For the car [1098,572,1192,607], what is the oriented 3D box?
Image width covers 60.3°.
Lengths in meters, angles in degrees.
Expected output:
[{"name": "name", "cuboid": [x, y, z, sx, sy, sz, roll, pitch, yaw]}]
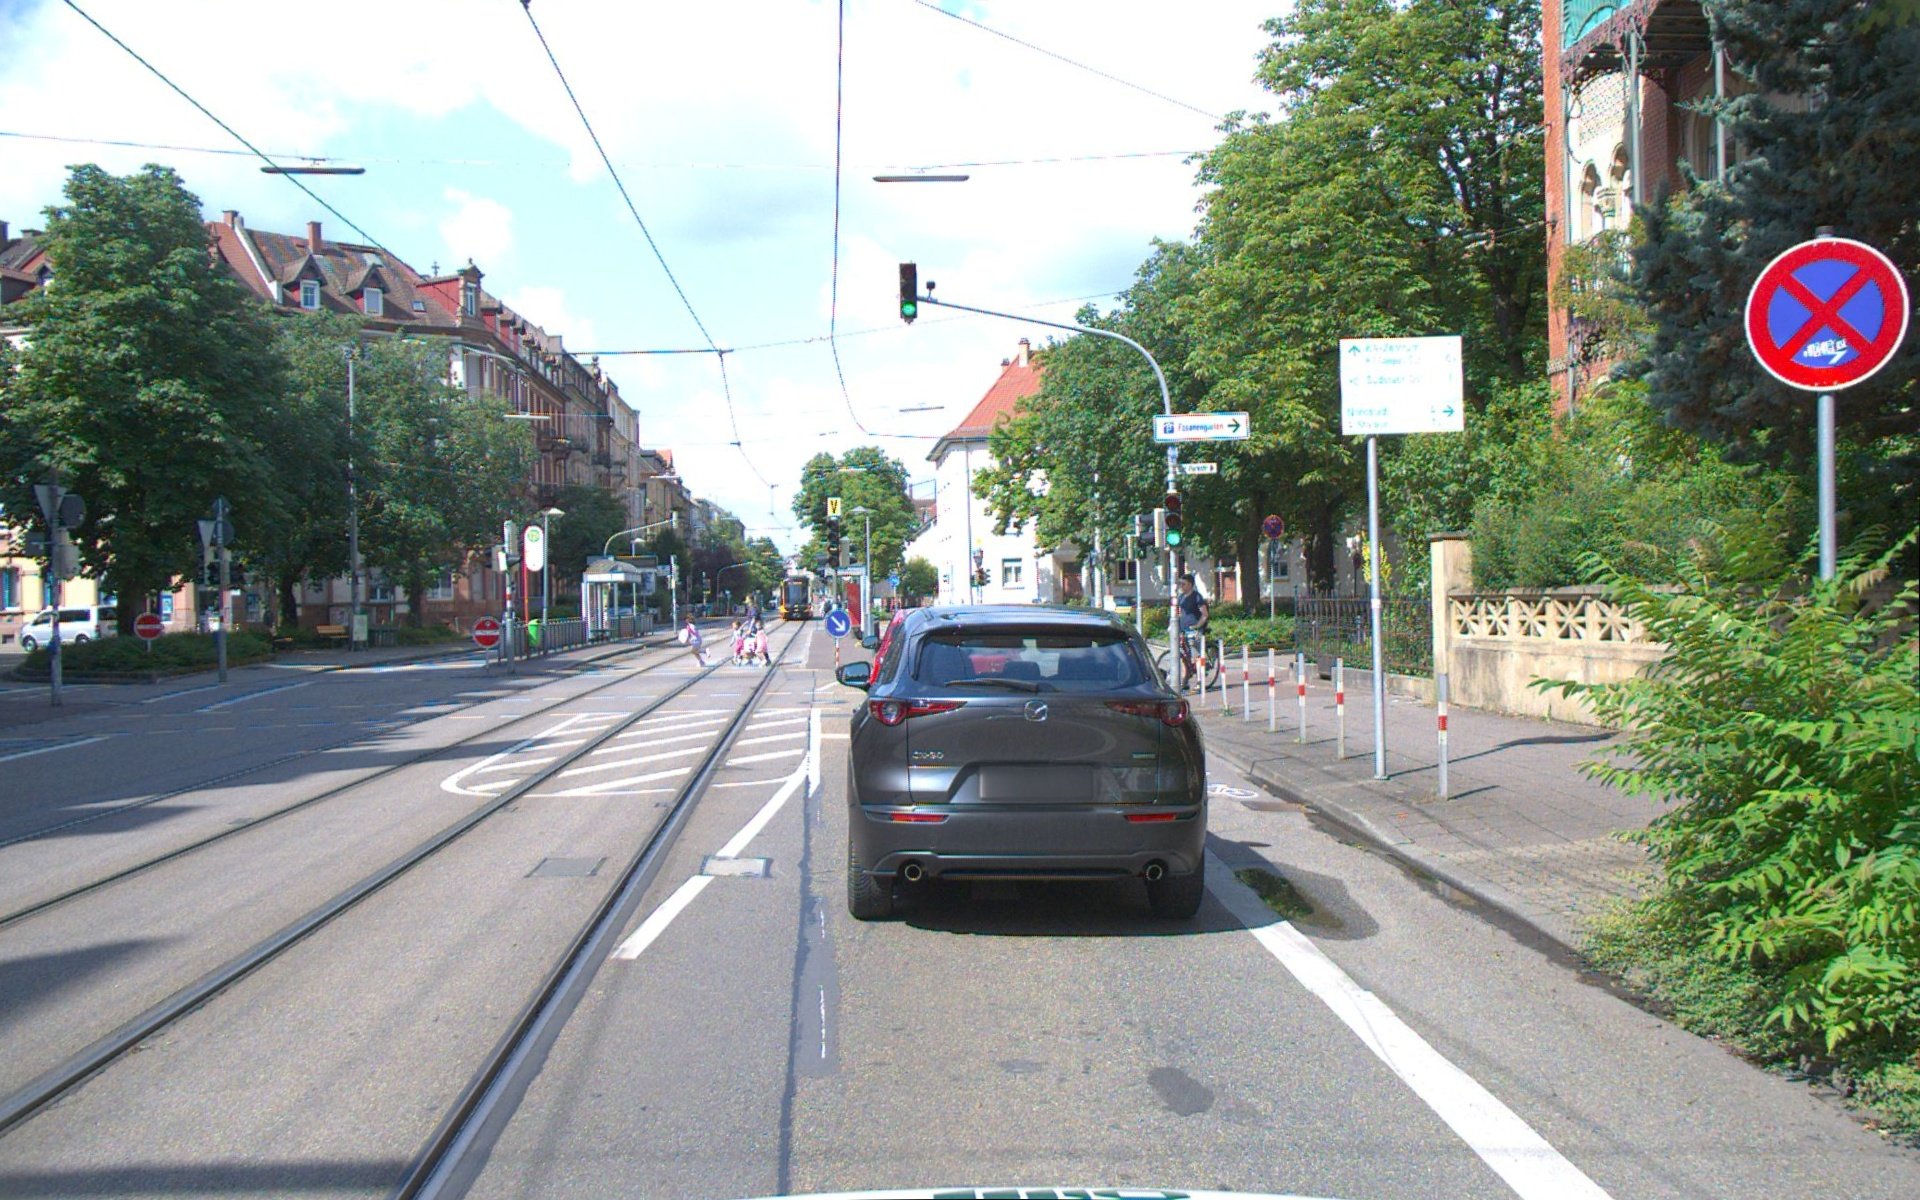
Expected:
[{"name": "car", "cuboid": [8.751, -0.488, 78.368, 4.090, 1.536, 1.844, -1, 1, 38]}]

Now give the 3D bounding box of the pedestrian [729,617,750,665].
[{"name": "pedestrian", "cuboid": [-5.343, 0.981, 40.143, 0.429, 1.127, 0.422, -3, 0, -9]}]

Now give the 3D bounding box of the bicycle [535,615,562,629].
[{"name": "bicycle", "cuboid": [-23.150, 1.250, 93.166, 0.378, 0.760, 1.707, -1, 0, 31]}]

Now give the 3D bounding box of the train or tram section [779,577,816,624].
[{"name": "train or tram section", "cuboid": [-14.806, 0.139, 151.099, 2.939, 4.053, 13.795, -1, -1, -4]}]

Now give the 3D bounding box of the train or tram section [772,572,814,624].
[{"name": "train or tram section", "cuboid": [-13.779, -0.050, 137.321, 2.939, 4.053, 13.795, -1, -1, -4]}]

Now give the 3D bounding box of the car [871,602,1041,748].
[{"name": "car", "cuboid": [-0.112, 0.775, 18.934, 1.739, 1.489, 3.840, 0, 0, -2]}]

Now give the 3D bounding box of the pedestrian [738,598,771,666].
[{"name": "pedestrian", "cuboid": [-4.924, 0.755, 39.576, 0.714, 1.593, 0.797, -1, 0, -9]}]

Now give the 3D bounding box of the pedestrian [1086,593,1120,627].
[{"name": "pedestrian", "cuboid": [5.636, 0.390, 65.010, 1.170, 1.291, 0.556, -3, 0, -10]}]

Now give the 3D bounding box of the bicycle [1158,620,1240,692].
[{"name": "bicycle", "cuboid": [3.820, 0.876, 26.315, 0.382, 1.053, 1.836, -2, 1, 39]}]

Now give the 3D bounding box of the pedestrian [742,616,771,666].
[{"name": "pedestrian", "cuboid": [-4.795, 0.961, 38.950, 0.629, 1.133, 0.443, -1, 0, -10]}]

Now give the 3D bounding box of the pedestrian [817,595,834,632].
[{"name": "pedestrian", "cuboid": [-6.433, 0.641, 78.944, 0.756, 1.704, 0.667, -1, 0, -6]}]

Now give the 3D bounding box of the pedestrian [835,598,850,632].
[{"name": "pedestrian", "cuboid": [-5.438, 0.699, 76.379, 0.654, 1.573, 0.580, -1, 0, -6]}]

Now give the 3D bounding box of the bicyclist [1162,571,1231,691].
[{"name": "bicyclist", "cuboid": [3.744, 0.487, 26.187, 0.724, 1.851, 0.813, -1, 0, -27]}]

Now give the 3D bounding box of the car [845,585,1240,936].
[{"name": "car", "cuboid": [0.350, 0.729, 9.383, 1.746, 1.540, 3.999, 1, 0, -1]}]

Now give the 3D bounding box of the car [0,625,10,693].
[{"name": "car", "cuboid": [-22.450, 1.318, 36.120, 3.799, 1.445, 1.713, -1, 0, 39]}]

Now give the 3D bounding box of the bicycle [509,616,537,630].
[{"name": "bicycle", "cuboid": [-24.173, 1.271, 91.449, 0.378, 0.760, 1.707, -1, 0, 31]}]

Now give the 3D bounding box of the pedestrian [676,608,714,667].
[{"name": "pedestrian", "cuboid": [-6.318, 0.890, 39.484, 0.810, 1.326, 0.716, -3, 0, -9]}]

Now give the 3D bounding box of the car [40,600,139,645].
[{"name": "car", "cuboid": [-40.073, 1.033, 76.134, 3.853, 2.023, 1.857, -1, 0, 19]}]
